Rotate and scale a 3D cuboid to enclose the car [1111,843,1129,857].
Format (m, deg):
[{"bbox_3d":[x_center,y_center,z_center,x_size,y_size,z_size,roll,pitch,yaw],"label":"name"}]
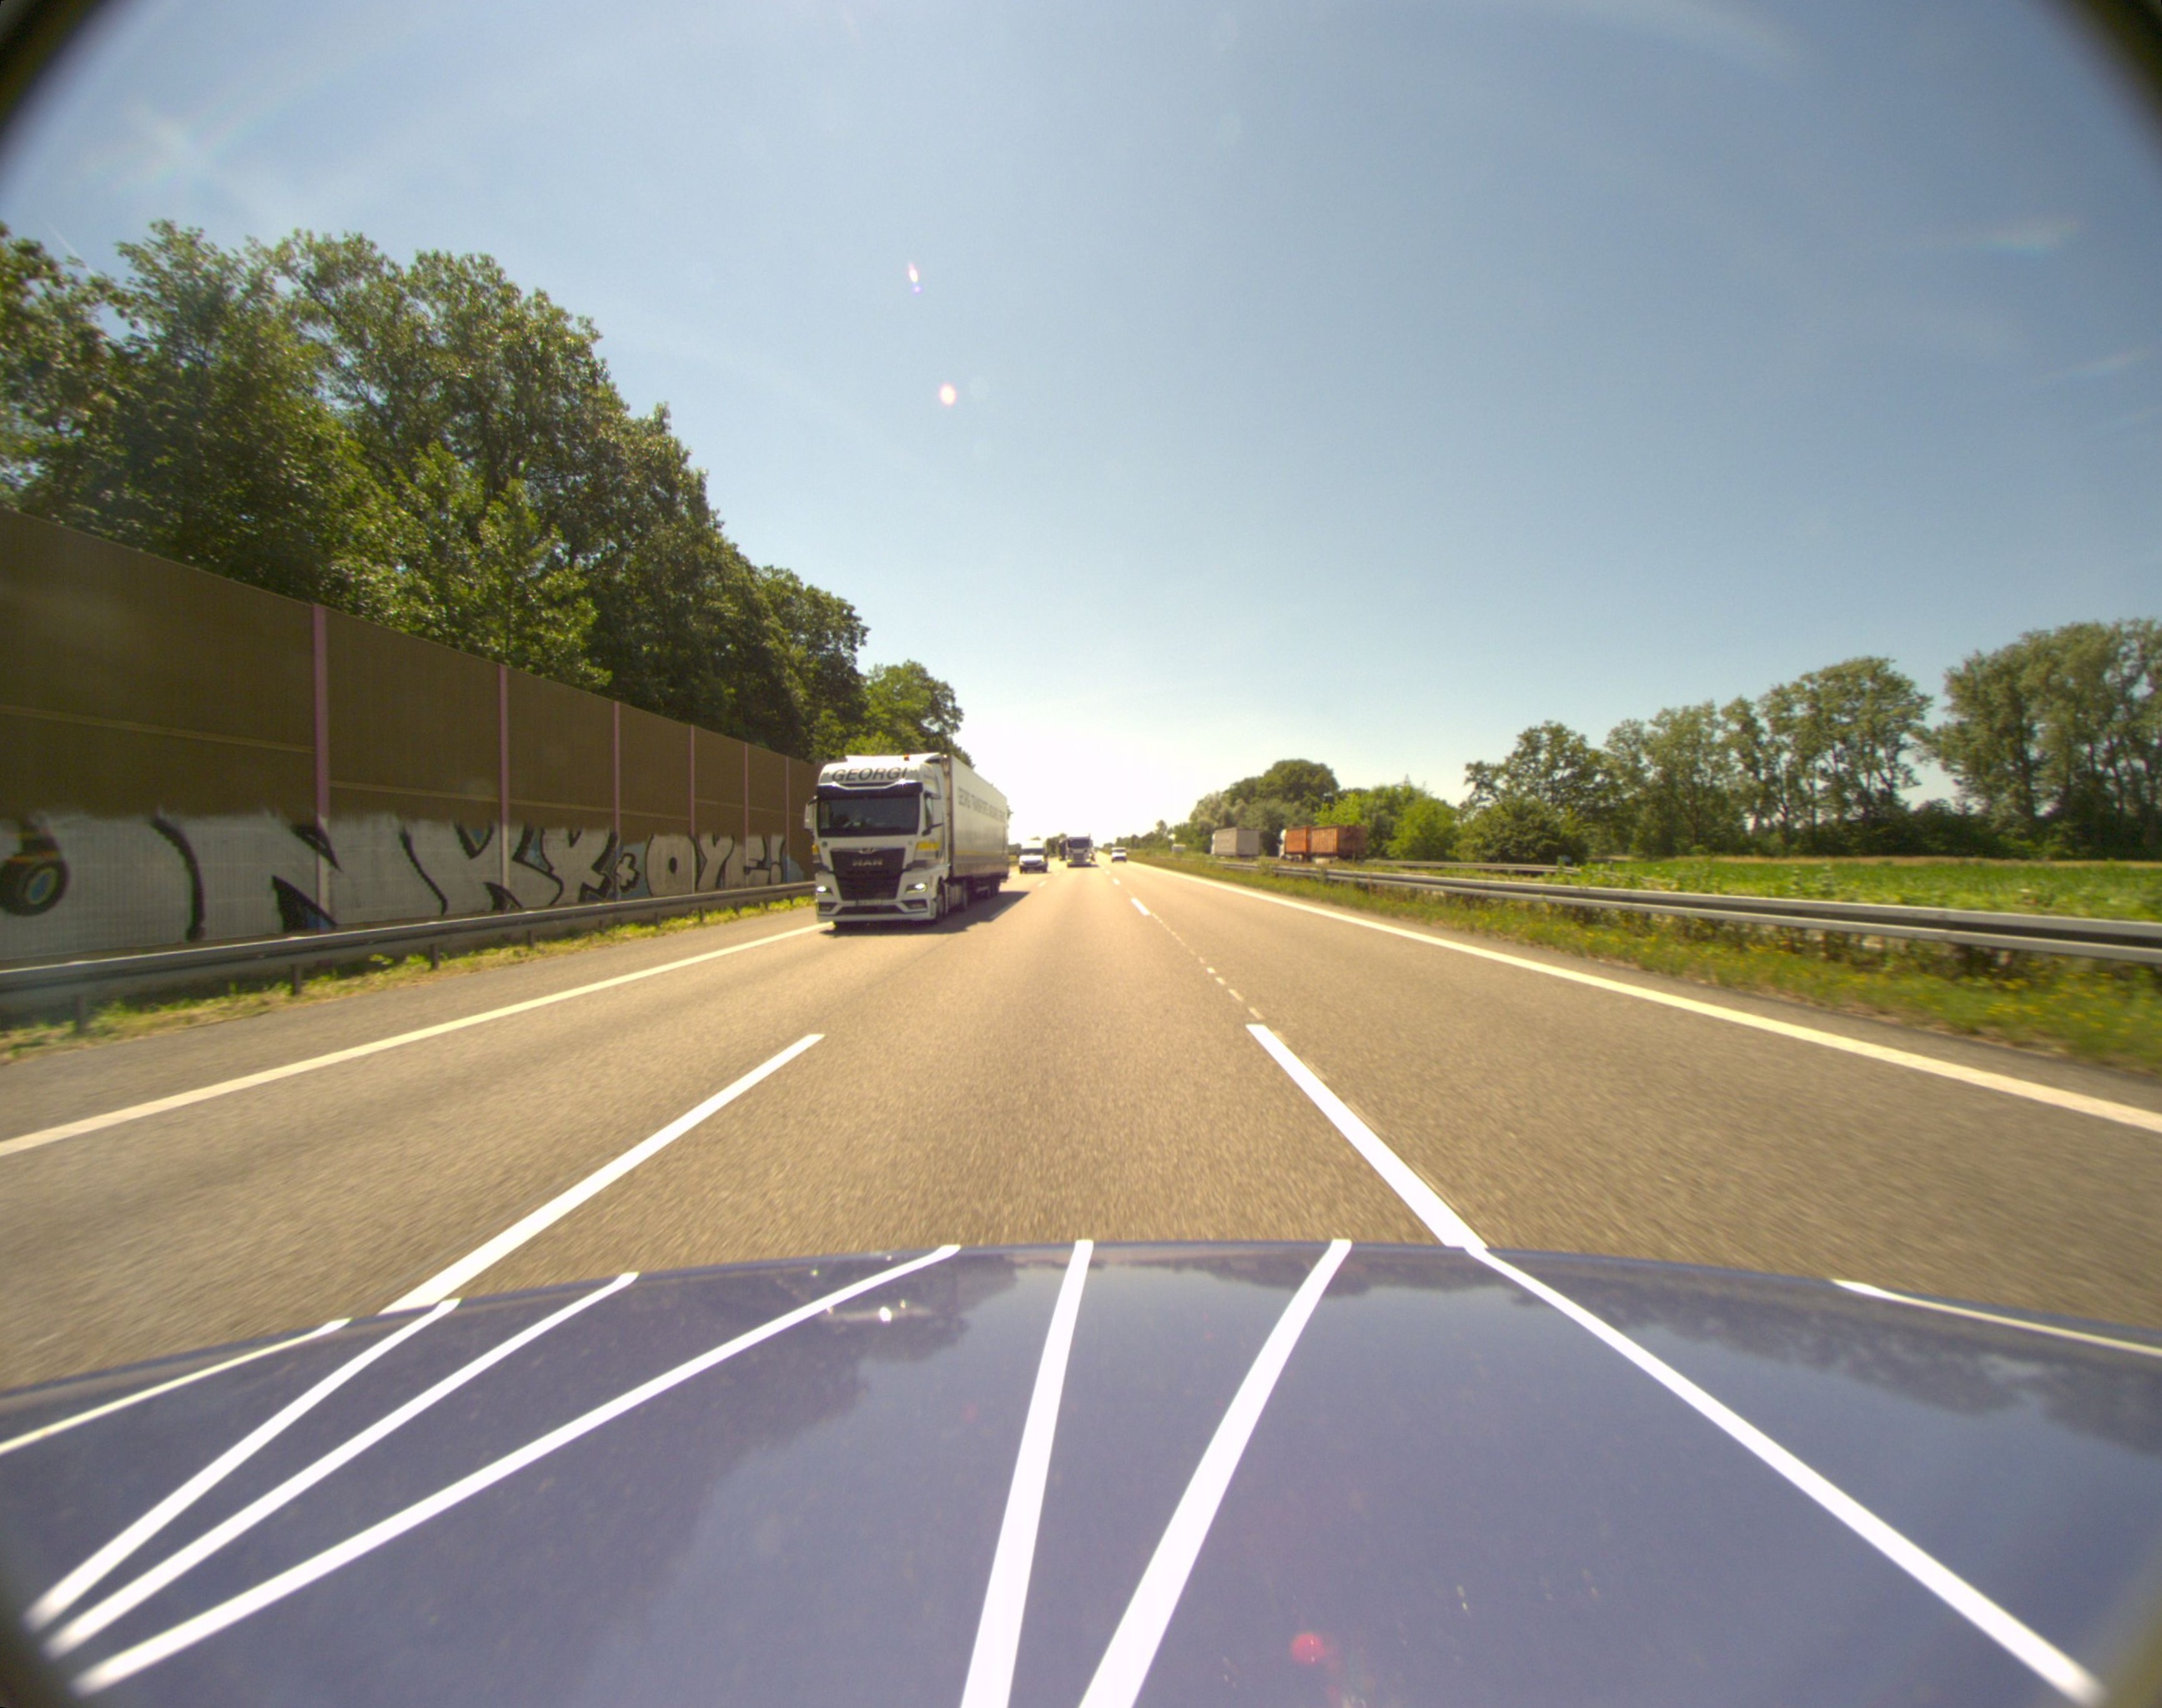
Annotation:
[{"bbox_3d":[5.244,-0.557,103.036,2.147,1.810,5.266,-2,1,1],"label":"car"}]

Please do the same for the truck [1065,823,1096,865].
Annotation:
[{"bbox_3d":[0.024,-1.040,79.043,2.896,4.007,6.869,-2,1,1],"label":"truck"}]

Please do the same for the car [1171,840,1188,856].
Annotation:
[{"bbox_3d":[18.961,-1.187,146.221,2.553,2.965,8.084,0,1,2],"label":"car"}]

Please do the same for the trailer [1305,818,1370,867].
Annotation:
[{"bbox_3d":[21.974,-0.951,65.716,2.665,3.897,8.660,2,1,1],"label":"trailer"}]

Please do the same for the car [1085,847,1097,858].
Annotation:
[{"bbox_3d":[1.512,-0.273,118.541,1.796,1.696,4.000,0,1,1],"label":"car"}]

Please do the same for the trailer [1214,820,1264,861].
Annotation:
[{"bbox_3d":[18.252,-1.559,88.802,3.203,4.397,13.324,0,1,1],"label":"trailer"}]

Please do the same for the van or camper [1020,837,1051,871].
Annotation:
[{"bbox_3d":[-3.639,-0.025,62.205,2.027,2.622,6.486,-2,1,0],"label":"van or camper"}]

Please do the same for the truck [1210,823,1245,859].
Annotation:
[{"bbox_3d":[18.304,-1.653,95.381,3.168,4.401,6.979,0,1,1],"label":"truck"}]

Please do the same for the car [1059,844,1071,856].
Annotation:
[{"bbox_3d":[-2.814,-0.739,137.532,1.998,2.002,4.867,0,1,1],"label":"car"}]

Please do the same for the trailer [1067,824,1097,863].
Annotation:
[{"bbox_3d":[0.130,-1.119,83.383,2.927,4.018,7.315,-2,1,0],"label":"trailer"}]

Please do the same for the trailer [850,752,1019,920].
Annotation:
[{"bbox_3d":[-4.372,-0.537,26.519,3.001,4.264,13.416,-2,1,1],"label":"trailer"}]

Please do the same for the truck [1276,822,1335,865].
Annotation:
[{"bbox_3d":[22.079,-1.000,75.487,2.655,3.862,10.826,2,1,1],"label":"truck"}]

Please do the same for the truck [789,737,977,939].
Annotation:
[{"bbox_3d":[-4.465,-0.366,18.429,3.010,4.101,5.252,-2,1,0],"label":"truck"}]
